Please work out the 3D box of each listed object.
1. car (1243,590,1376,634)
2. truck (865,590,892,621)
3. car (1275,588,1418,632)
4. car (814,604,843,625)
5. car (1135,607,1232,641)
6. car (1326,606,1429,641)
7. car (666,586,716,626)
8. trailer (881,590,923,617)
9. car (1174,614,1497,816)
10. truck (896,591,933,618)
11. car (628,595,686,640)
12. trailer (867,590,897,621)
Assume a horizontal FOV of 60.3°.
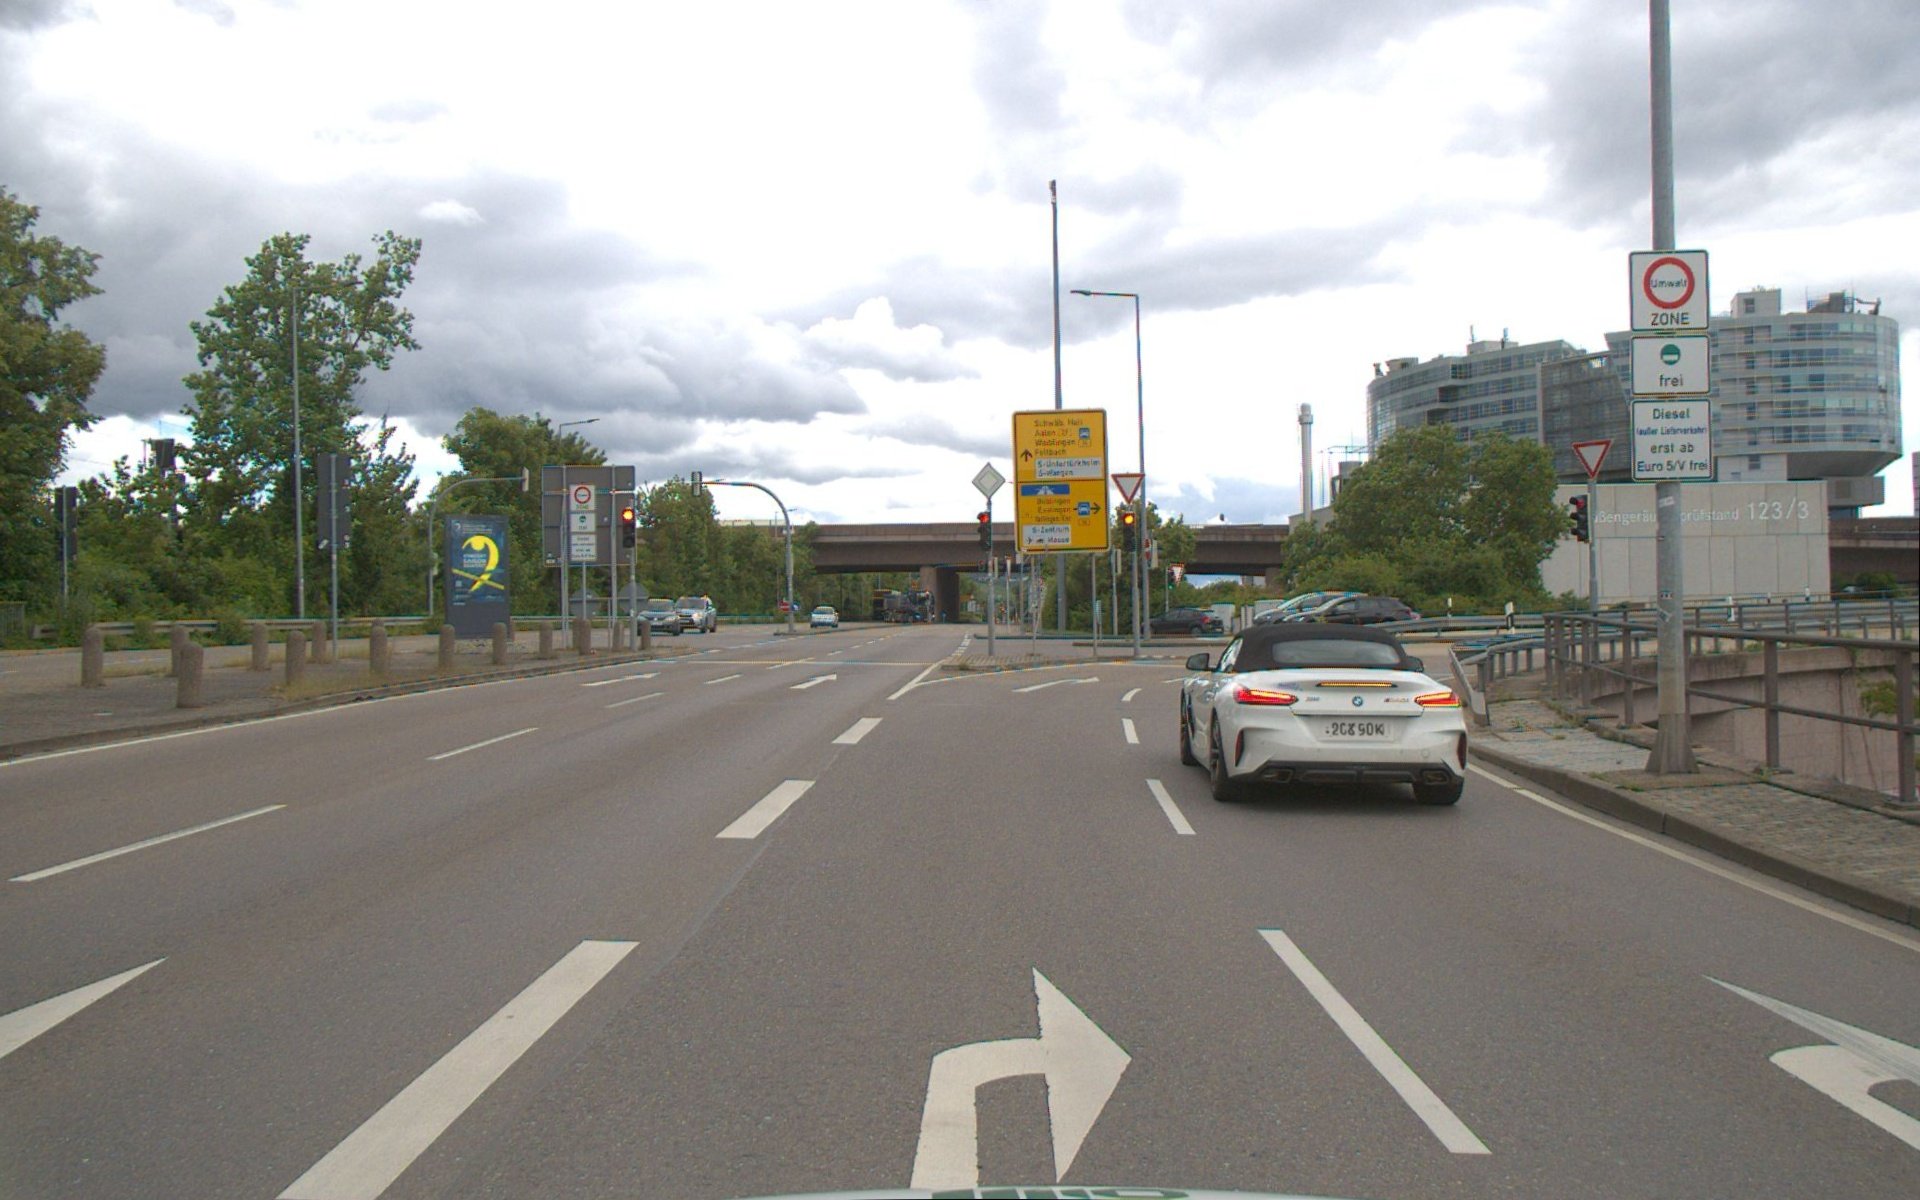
[{"bbox_3d":[13.089,0.432,62.102,4.583,1.599,1.955,0,1,-1],"label":"car"},{"bbox_3d":[-11.261,0.719,228.787,2.811,4.155,6.490,2,0,4],"label":"truck"},{"bbox_3d":[13.515,0.342,57.952,4.515,1.482,1.954,0,1,-5],"label":"car"},{"bbox_3d":[-9.199,0.987,115.697,1.689,1.425,4.066,-1,0,0],"label":"car"},{"bbox_3d":[10.241,1.107,75.882,4.037,1.490,1.988,-1,-3,42],"label":"car"},{"bbox_3d":[17.923,1.011,71.004,4.015,1.467,1.998,0,-2,25],"label":"car"},{"bbox_3d":[-12.456,0.269,76.765,1.689,1.767,4.554,-1,0,-2],"label":"car"},{"bbox_3d":[-6.421,0.347,182.899,2.559,2.669,8.533,4,0,-16],"label":"trailer"},{"bbox_3d":[2.875,0.817,13.588,1.768,1.314,4.264,1,0,1],"label":"car"},{"bbox_3d":[-4.937,0.484,178.167,2.569,2.669,5.758,4,0,-14],"label":"truck"},{"bbox_3d":[-12.307,0.746,67.025,1.698,1.487,4.220,3,-5,-19],"label":"car"},{"bbox_3d":[-10.940,0.721,234.004,2.811,4.155,11.432,2,0,4],"label":"trailer"}]
